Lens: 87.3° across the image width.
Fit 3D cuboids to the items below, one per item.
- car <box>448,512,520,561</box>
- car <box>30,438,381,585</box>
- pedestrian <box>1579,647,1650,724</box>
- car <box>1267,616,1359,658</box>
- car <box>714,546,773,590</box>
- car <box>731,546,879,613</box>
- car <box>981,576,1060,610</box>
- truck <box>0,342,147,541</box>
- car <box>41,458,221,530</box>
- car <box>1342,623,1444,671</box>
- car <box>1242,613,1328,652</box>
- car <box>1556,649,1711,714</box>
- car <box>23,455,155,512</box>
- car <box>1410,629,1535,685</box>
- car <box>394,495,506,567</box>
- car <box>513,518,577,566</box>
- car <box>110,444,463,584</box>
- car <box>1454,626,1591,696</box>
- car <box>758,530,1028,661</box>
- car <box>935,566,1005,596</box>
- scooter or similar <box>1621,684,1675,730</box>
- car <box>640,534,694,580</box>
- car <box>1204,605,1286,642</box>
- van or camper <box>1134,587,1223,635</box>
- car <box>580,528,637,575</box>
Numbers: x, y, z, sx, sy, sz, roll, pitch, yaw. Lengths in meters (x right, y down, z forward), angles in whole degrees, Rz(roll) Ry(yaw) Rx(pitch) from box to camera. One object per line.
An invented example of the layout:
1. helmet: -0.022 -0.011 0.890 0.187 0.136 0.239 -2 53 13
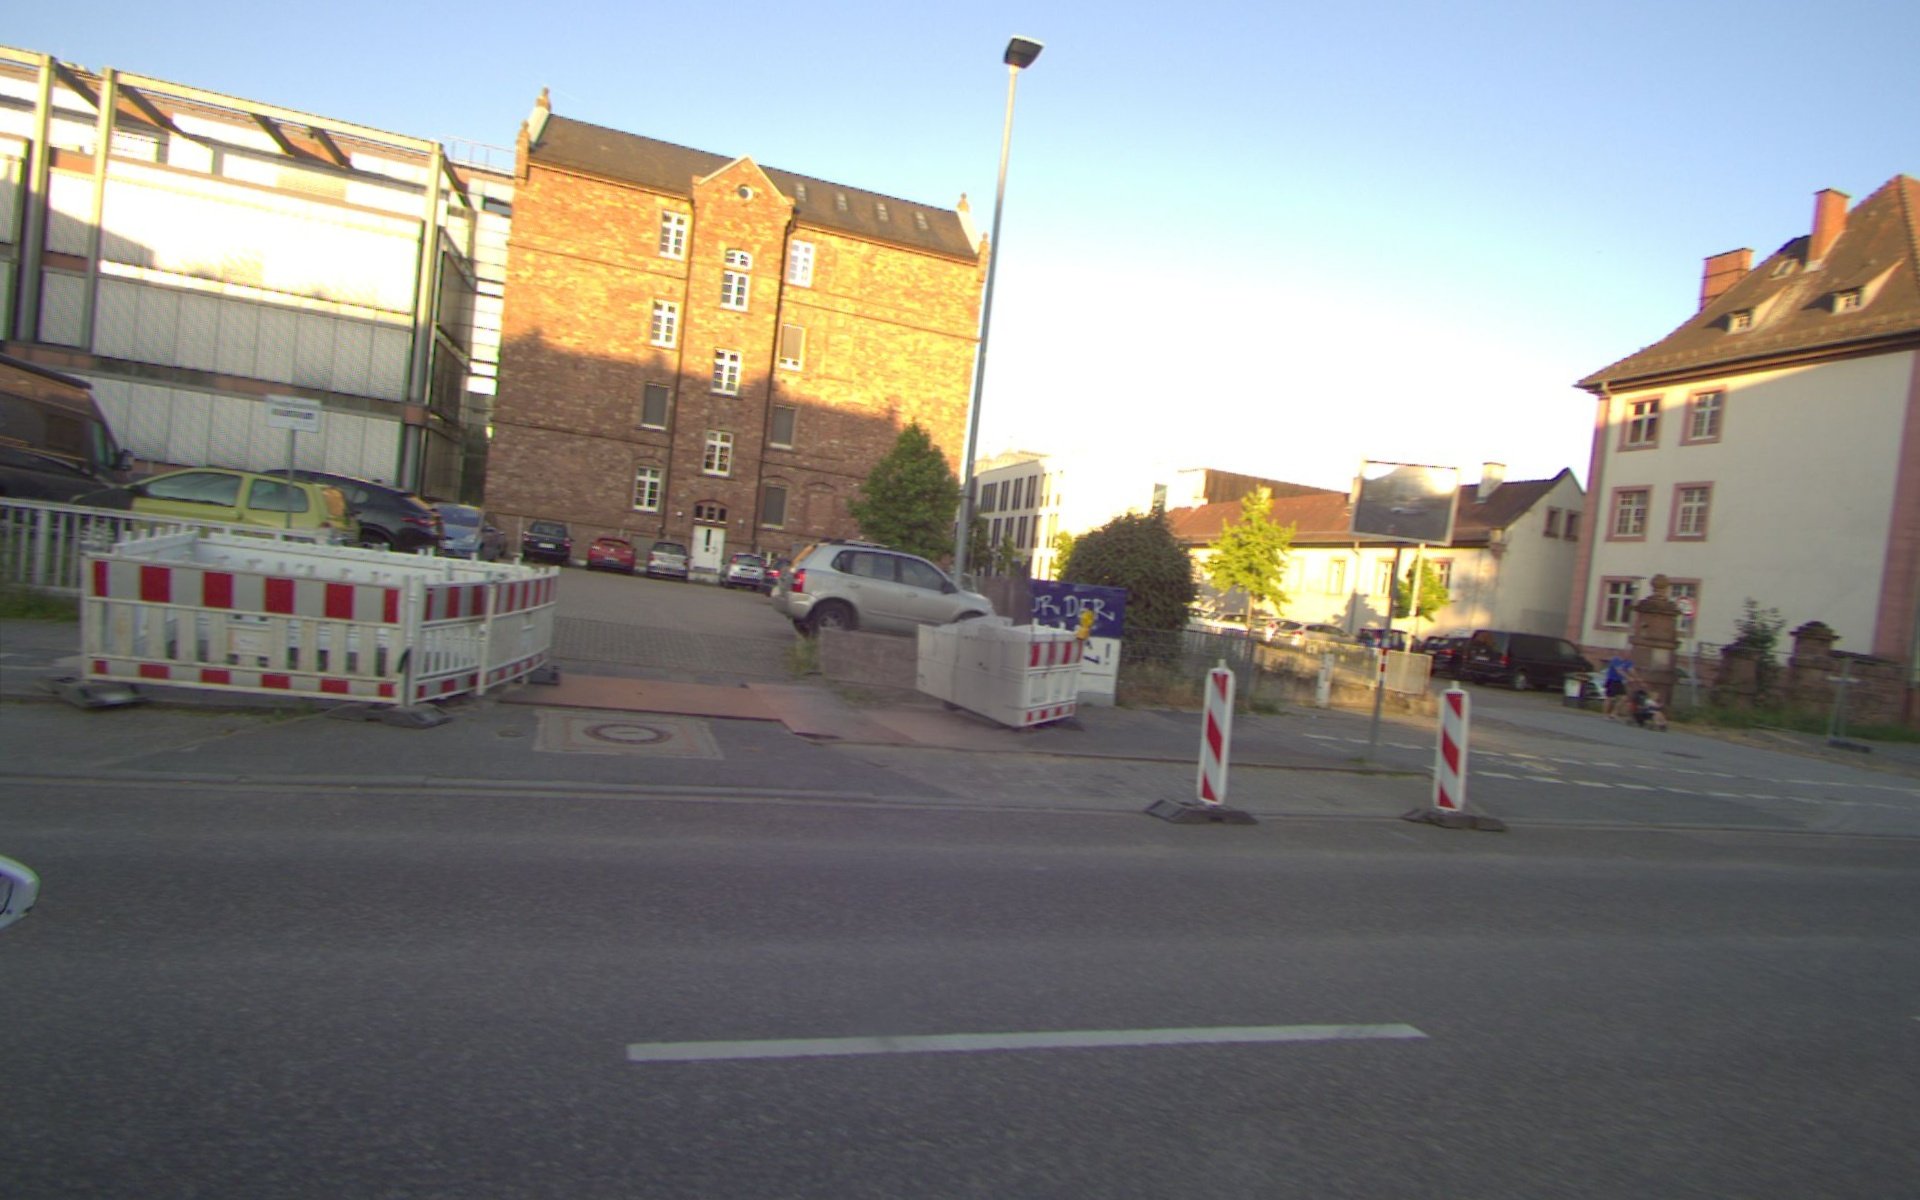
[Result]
1. car: -18.475 -2.450 39.208 1.874 1.557 4.161 6 1 -18
2. car: -10.613 -1.201 14.447 3.588 1.523 1.630 6 1 -17
3. pedestrian: 15.607 2.020 24.018 0.741 1.663 1.010 6 1 -17
4. car: 16.294 1.695 46.396 3.701 1.464 1.678 7 1 -22
5. car: -9.052 -1.367 41.746 1.874 1.557 4.161 6 1 -18
6. car: -4.626 -0.612 29.976 4.076 1.502 1.636 6 1 -17
7. car: 3.470 -0.411 57.633 3.943 1.330 2.054 7 1 -20
8. truck: -14.588 -2.351 14.747 2.306 2.651 4.952 6 1 -17
9. car: -20.708 -2.588 25.380 1.917 1.322 4.345 6 1 -18
10. car: 18.099 1.957 42.074 3.701 1.548 1.678 7 1 -22
11. car: 15.958 1.603 49.422 3.701 1.464 1.678 7 1 -22
12. car: 20.651 2.498 30.865 3.945 1.477 1.989 7 1 -22
13. car: -30.102 -3.993 34.951 1.874 1.451 4.161 6 1 -18
14. car: 19.278 2.143 37.881 3.945 1.593 1.989 7 1 -22
15. car: -13.980 -1.861 27.839 1.970 1.596 4.345 6 1 -18
16. car: -16.271 -2.264 39.634 1.874 1.557 4.161 6 1 -18
17. car: -11.031 -1.361 16.832 4.528 1.659 1.569 6 2 -17
18. car: 19.530 2.116 34.963 3.945 1.882 1.989 6 1 -22
19. car: -1.176 -0.074 17.364 4.221 1.731 1.694 6 2 -20
20. car: 0.629 -1.181 63.428 3.943 1.330 1.868 7 1 -20
21. scooter or similar: 15.825 2.457 23.144 0.508 0.902 0.803 6 1 -18
22. car: -11.941 -1.749 40.841 1.874 1.557 4.161 6 1 -18
23. car: 14.743 1.213 52.029 3.701 1.464 1.678 7 1 -22
24. van or camper: 13.002 0.666 59.933 4.910 2.269 1.678 6 1 -22
25. car: -13.948 -1.952 40.116 1.874 1.557 4.161 6 1 -18
